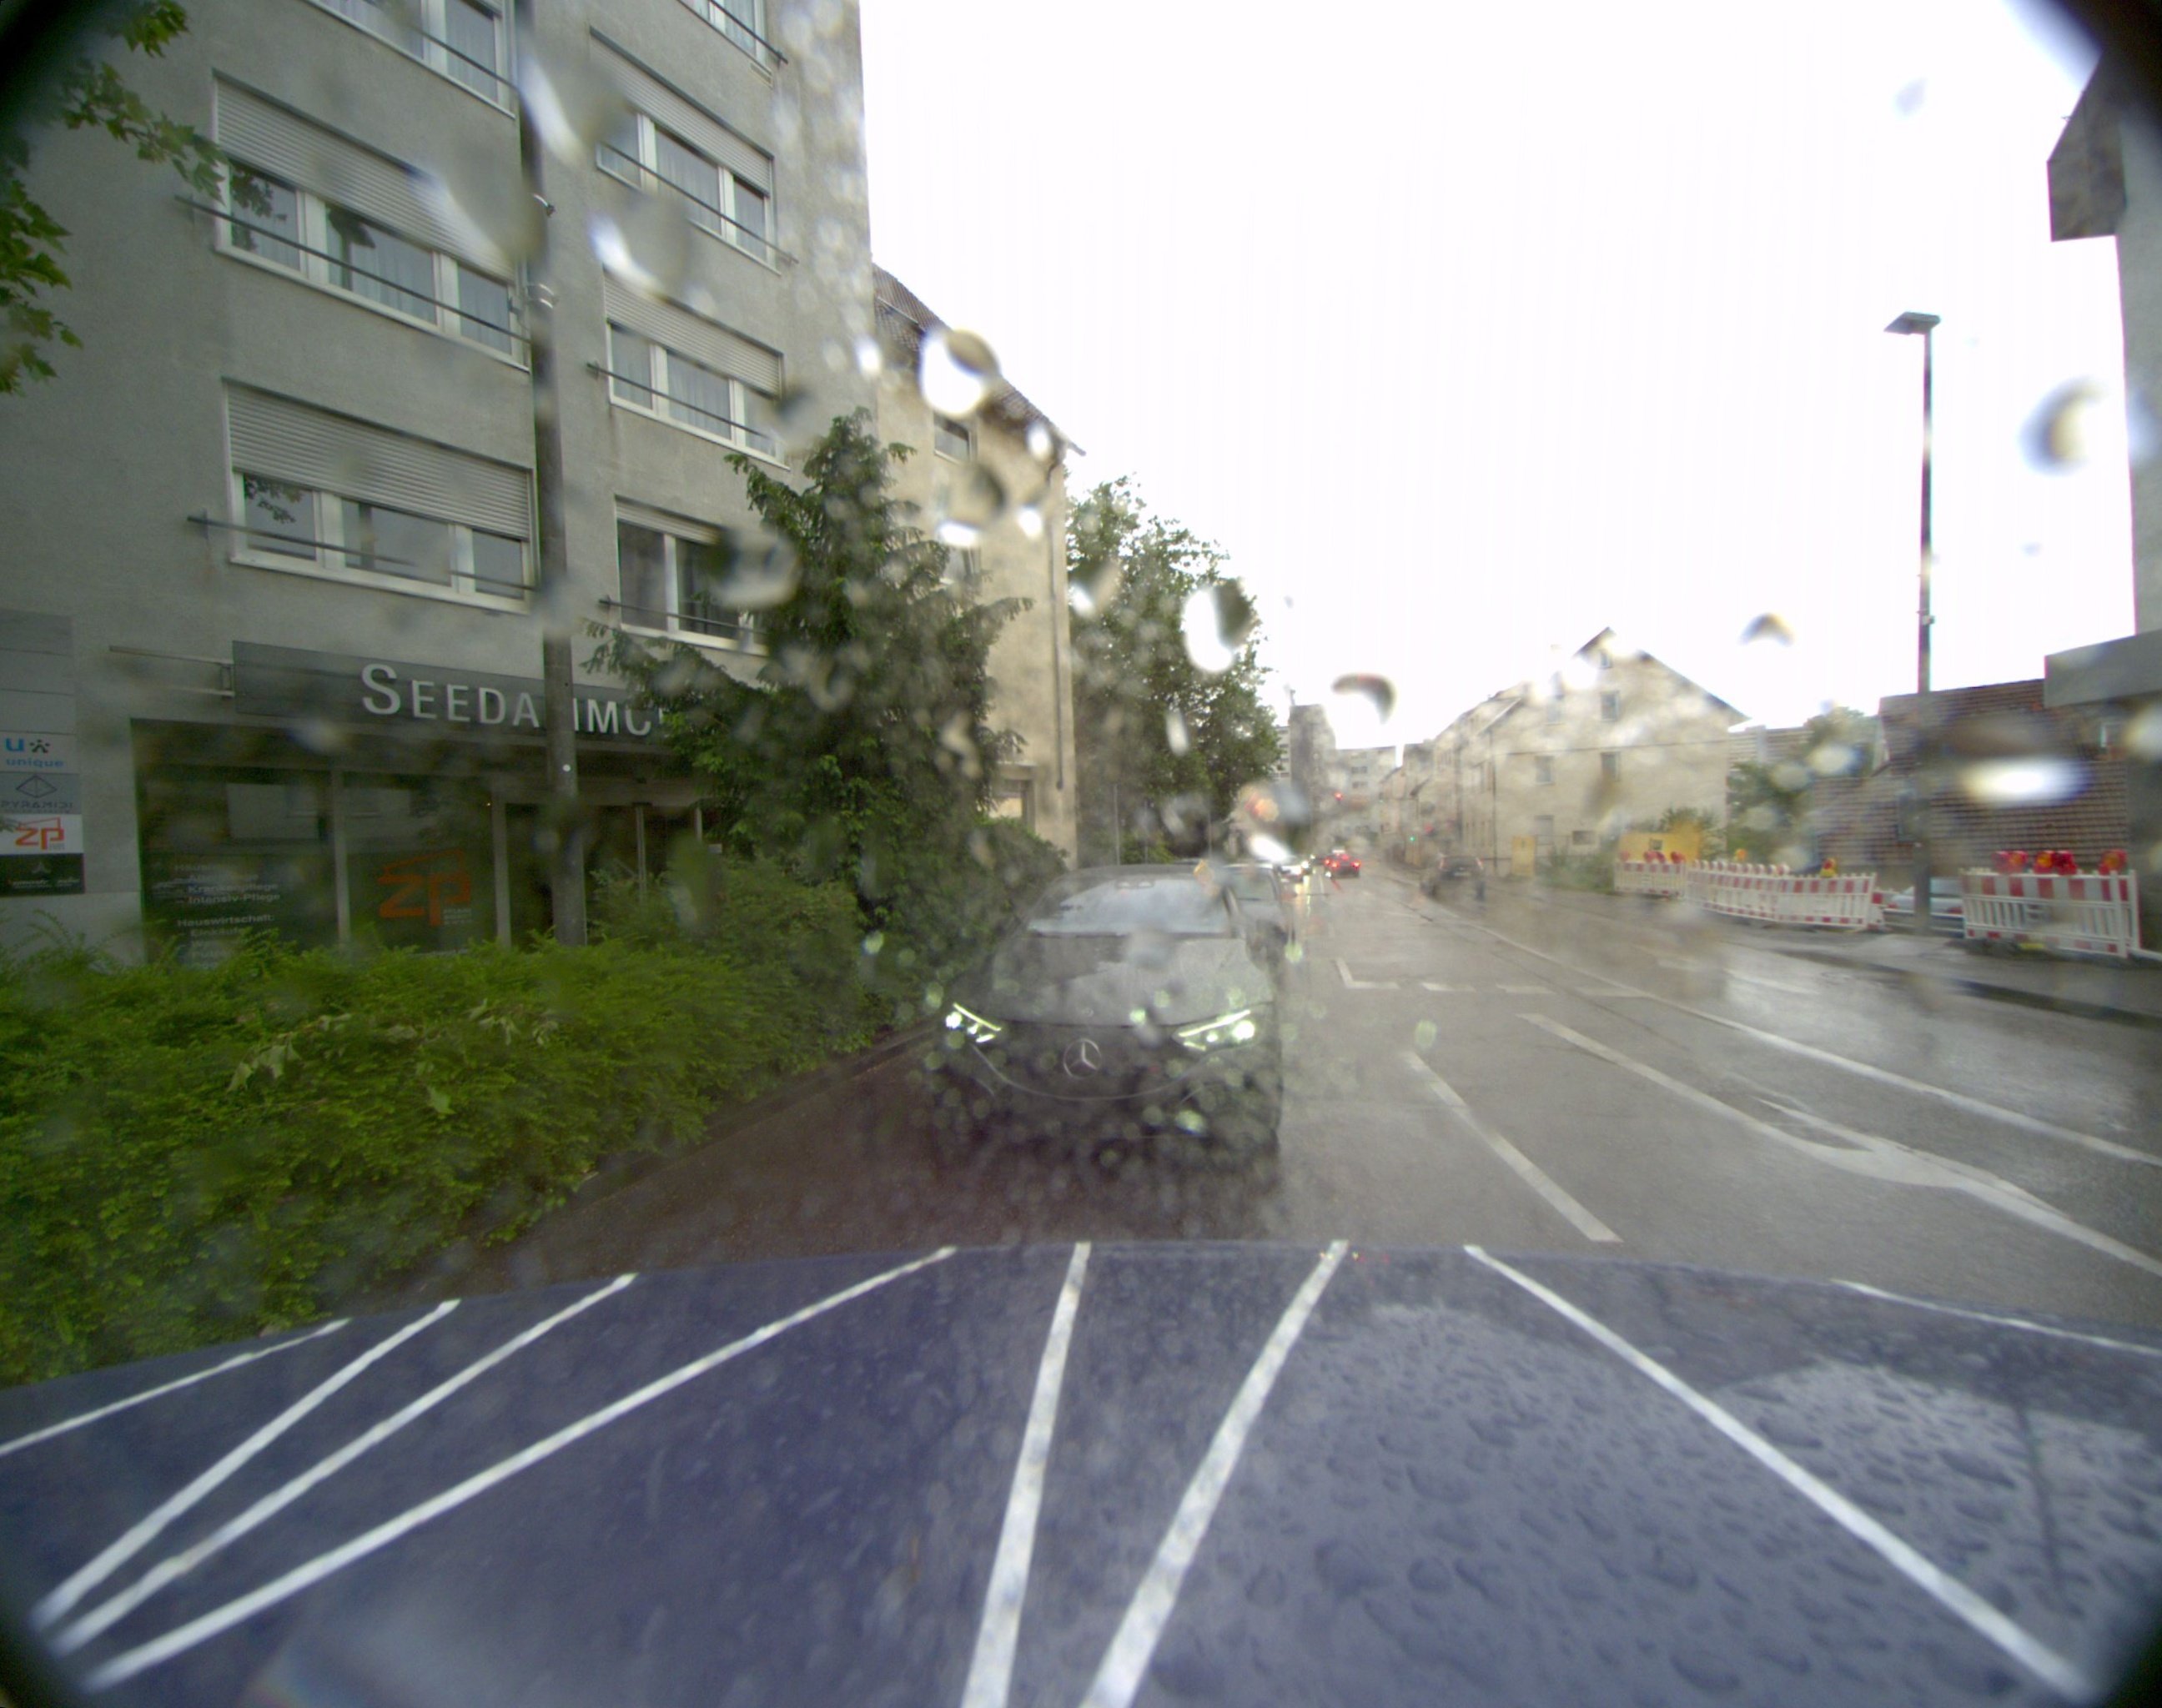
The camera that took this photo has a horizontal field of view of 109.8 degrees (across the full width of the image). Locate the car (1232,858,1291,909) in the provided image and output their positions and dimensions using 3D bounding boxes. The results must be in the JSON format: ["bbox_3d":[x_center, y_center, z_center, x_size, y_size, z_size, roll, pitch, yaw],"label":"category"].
[{"bbox_3d":[6.079,0.921,25.261,1.684,1.452,4.005,-2,0,16],"label":"car"}]

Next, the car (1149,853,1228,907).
[{"bbox_3d":[4.043,0.886,27.778,1.933,1.770,4.740,-1,0,20],"label":"car"}]

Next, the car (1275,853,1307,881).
[{"bbox_3d":[12.515,0.749,45.350,1.614,1.495,3.721,-3,0,13],"label":"car"}]

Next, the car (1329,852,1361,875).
[{"bbox_3d":[17.204,0.614,49.627,1.709,1.375,3.674,-2,0,16],"label":"car"}]

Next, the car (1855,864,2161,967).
[{"bbox_3d":[16.420,1.045,13.410,3.505,1.382,1.653,6,-1,8],"label":"car"}]

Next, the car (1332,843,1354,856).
[{"bbox_3d":[34.847,-0.616,100.899,1.736,1.555,3.843,-2,0,35],"label":"car"}]

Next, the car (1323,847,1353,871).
[{"bbox_3d":[18.842,0.367,55.898,1.818,1.635,4.281,-2,-1,16],"label":"car"}]

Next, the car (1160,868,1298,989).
[{"bbox_3d":[2.377,0.963,11.437,1.639,1.424,3.810,-1,0,17],"label":"car"}]

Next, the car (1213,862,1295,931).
[{"bbox_3d":[4.259,0.960,18.491,1.685,1.413,4.004,-2,0,14],"label":"car"}]

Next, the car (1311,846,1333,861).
[{"bbox_3d":[26.271,-0.087,82.783,1.790,1.555,3.841,-2,0,24],"label":"car"}]

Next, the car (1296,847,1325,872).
[{"bbox_3d":[17.874,0.421,59.040,1.790,1.841,3.841,-2,0,22],"label":"car"}]

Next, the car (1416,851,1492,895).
[{"bbox_3d":[13.770,0.674,28.279,1.734,1.501,4.278,-1,0,15],"label":"car"}]

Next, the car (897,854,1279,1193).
[{"bbox_3d":[0.415,0.834,5.775,1.819,1.562,4.280,-2,-1,11],"label":"car"}]
